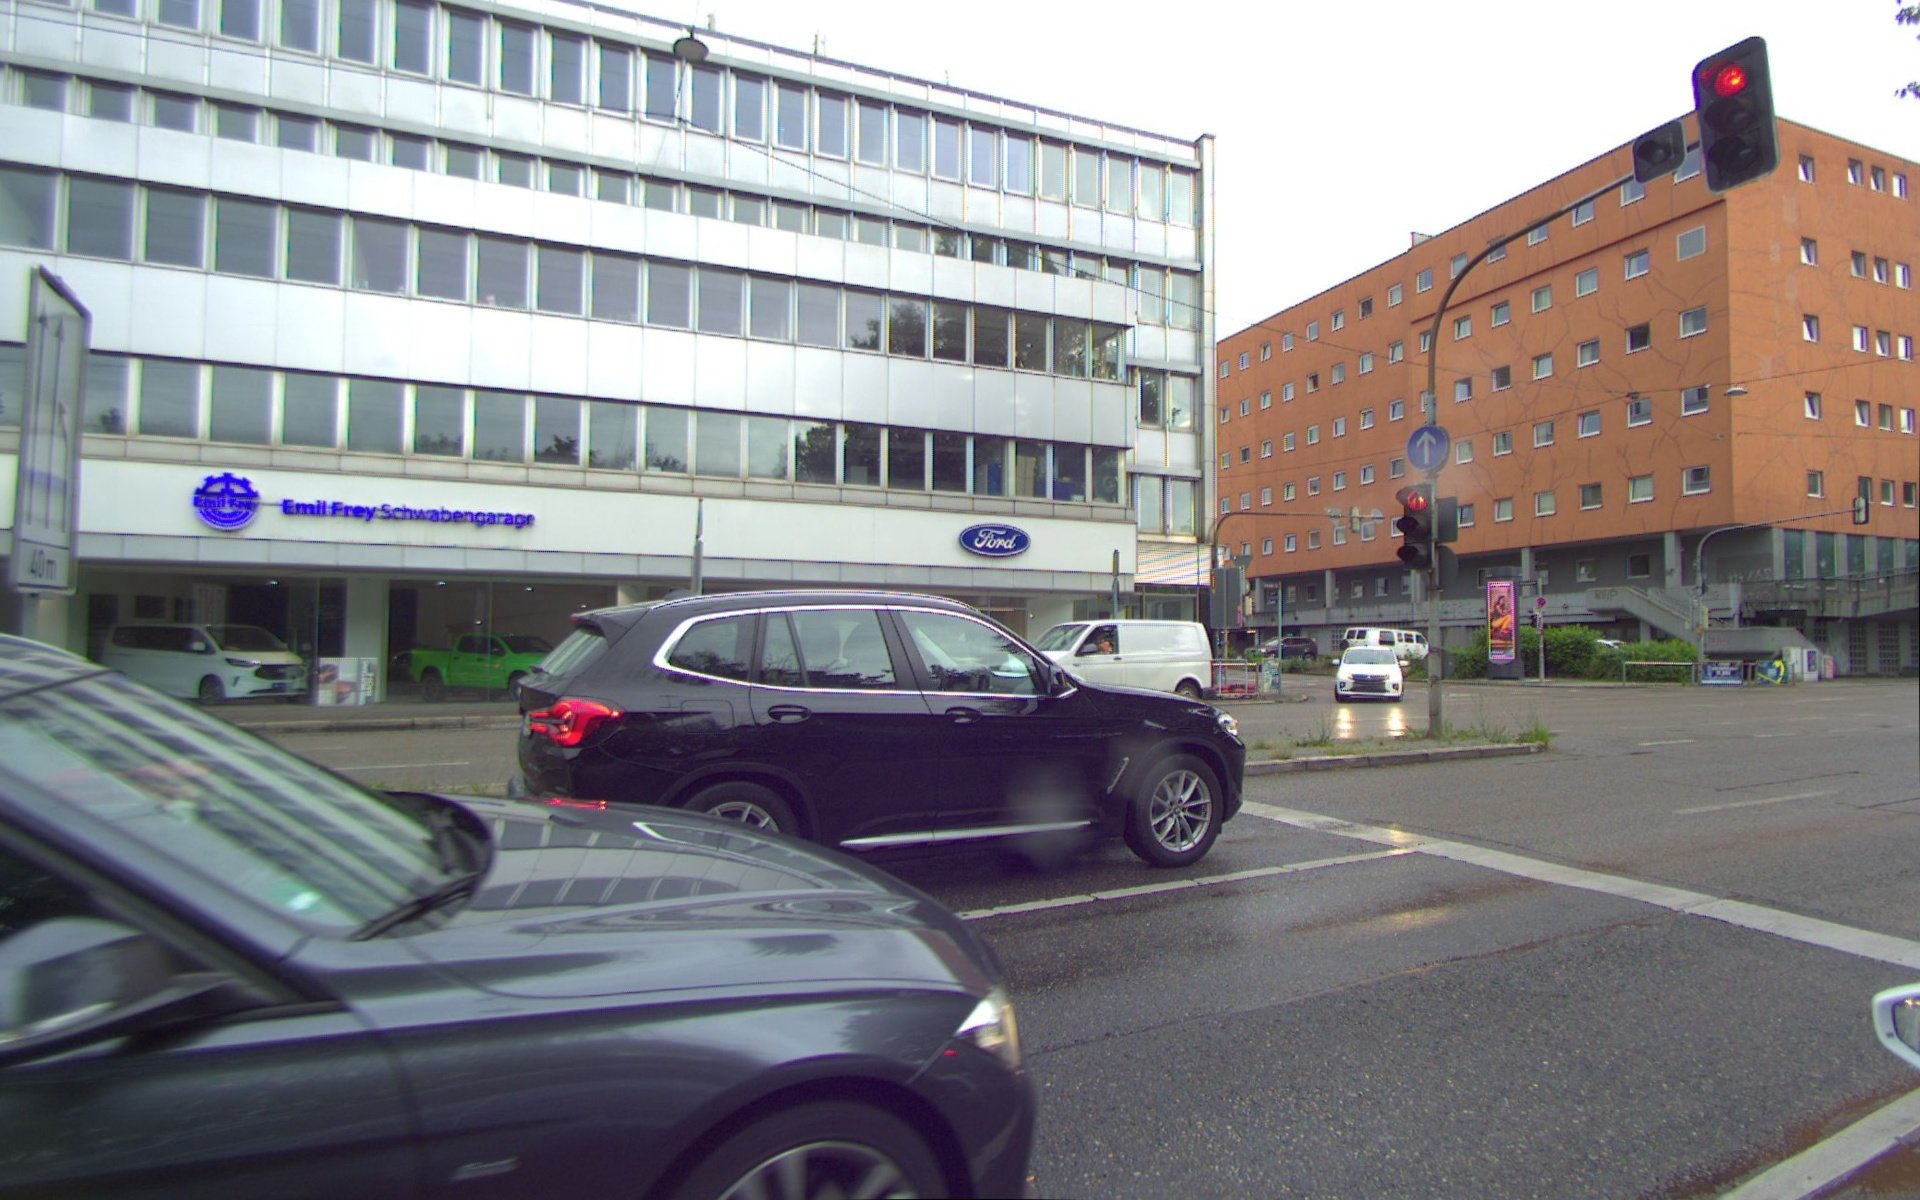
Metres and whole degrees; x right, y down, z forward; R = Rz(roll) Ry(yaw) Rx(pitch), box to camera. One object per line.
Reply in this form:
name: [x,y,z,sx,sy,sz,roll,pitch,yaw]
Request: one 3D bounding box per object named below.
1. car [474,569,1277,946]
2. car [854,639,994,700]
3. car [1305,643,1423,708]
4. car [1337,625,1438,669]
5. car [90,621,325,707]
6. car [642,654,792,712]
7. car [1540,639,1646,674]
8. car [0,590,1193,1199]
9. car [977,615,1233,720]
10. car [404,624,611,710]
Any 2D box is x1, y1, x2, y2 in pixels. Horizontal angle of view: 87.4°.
car: [-0.454,0.705,6.246,4.609,1.619,1.940,1,0,-27]
car: [-1.210,2.182,31.329,1.983,1.761,4.721,3,-5,-39]
car: [11.249,2.125,28.354,1.959,1.659,4.830,-1,-4,8]
car: [22.265,2.461,52.339,4.780,2.040,1.990,2,1,-21]
car: [-18.117,1.563,24.228,4.889,1.921,2.001,-2,-4,17]
car: [-7.203,2.404,29.457,1.987,1.540,5.139,3,-5,-44]
car: [30.519,2.768,48.556,1.865,1.638,4.011,1,-4,-20]
car: [-1.757,0.737,1.815,4.130,1.469,1.751,4,-1,-30]
car: [3.072,1.402,20.936,5.149,1.957,1.986,2,-4,-29]
car: [-11.589,1.739,25.706,5.109,2.037,1.999,-2,-4,26]
